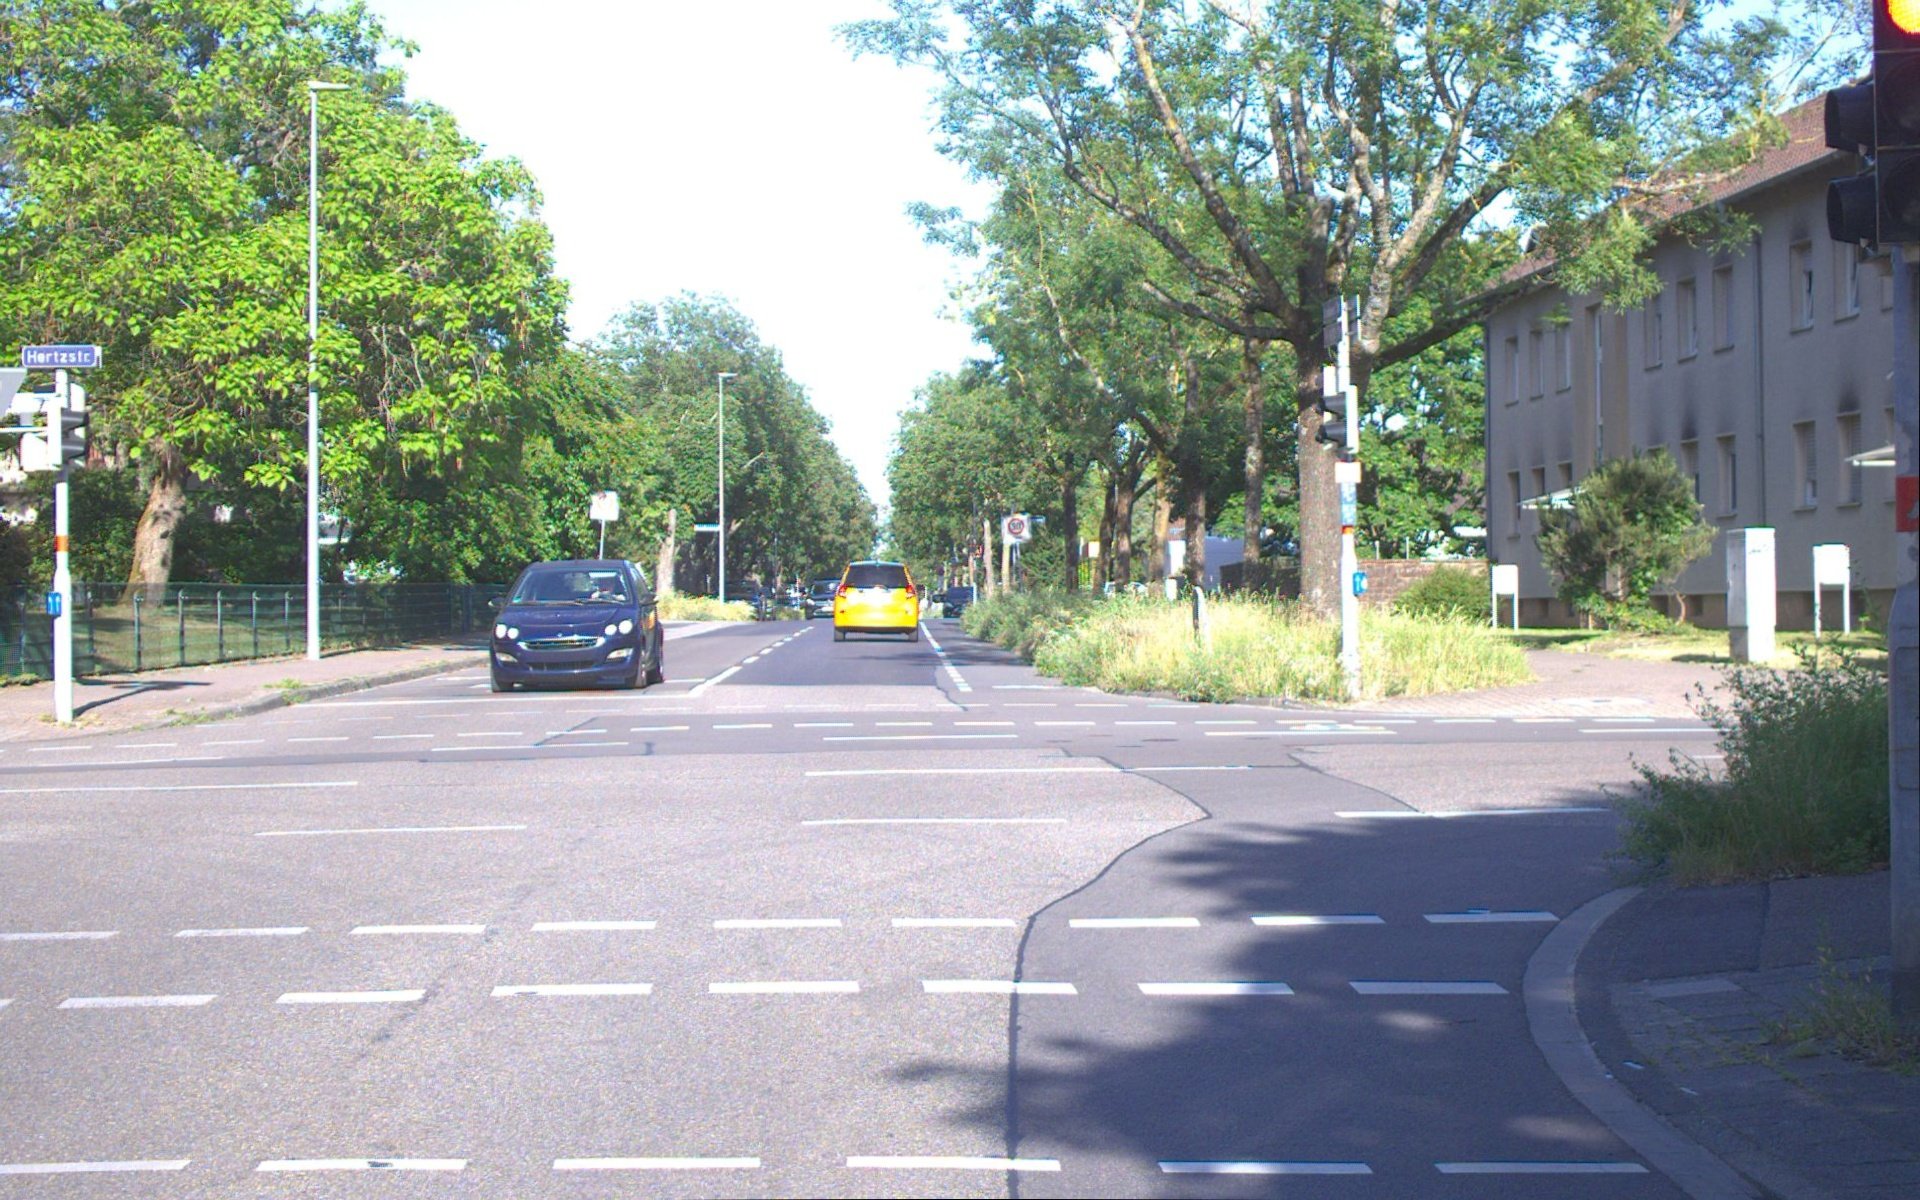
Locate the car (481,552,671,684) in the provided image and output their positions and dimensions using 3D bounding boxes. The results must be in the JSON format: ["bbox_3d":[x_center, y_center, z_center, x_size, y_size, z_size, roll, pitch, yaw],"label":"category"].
[{"bbox_3d":[-4.269,0.171,38.617,1.711,1.381,3.471,0,1,0],"label":"car"}]

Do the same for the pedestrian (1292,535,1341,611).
[{"bbox_3d":[7.180,-0.547,69.335,0.842,1.488,0.924,2,1,-1],"label":"pedestrian"}]

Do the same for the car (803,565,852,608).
[{"bbox_3d":[-5.089,-0.532,132.366,1.758,1.619,3.268,0,1,0],"label":"car"}]

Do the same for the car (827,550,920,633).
[{"bbox_3d":[-1.699,-0.181,68.367,1.751,1.577,4.000,1,0,0],"label":"car"}]
